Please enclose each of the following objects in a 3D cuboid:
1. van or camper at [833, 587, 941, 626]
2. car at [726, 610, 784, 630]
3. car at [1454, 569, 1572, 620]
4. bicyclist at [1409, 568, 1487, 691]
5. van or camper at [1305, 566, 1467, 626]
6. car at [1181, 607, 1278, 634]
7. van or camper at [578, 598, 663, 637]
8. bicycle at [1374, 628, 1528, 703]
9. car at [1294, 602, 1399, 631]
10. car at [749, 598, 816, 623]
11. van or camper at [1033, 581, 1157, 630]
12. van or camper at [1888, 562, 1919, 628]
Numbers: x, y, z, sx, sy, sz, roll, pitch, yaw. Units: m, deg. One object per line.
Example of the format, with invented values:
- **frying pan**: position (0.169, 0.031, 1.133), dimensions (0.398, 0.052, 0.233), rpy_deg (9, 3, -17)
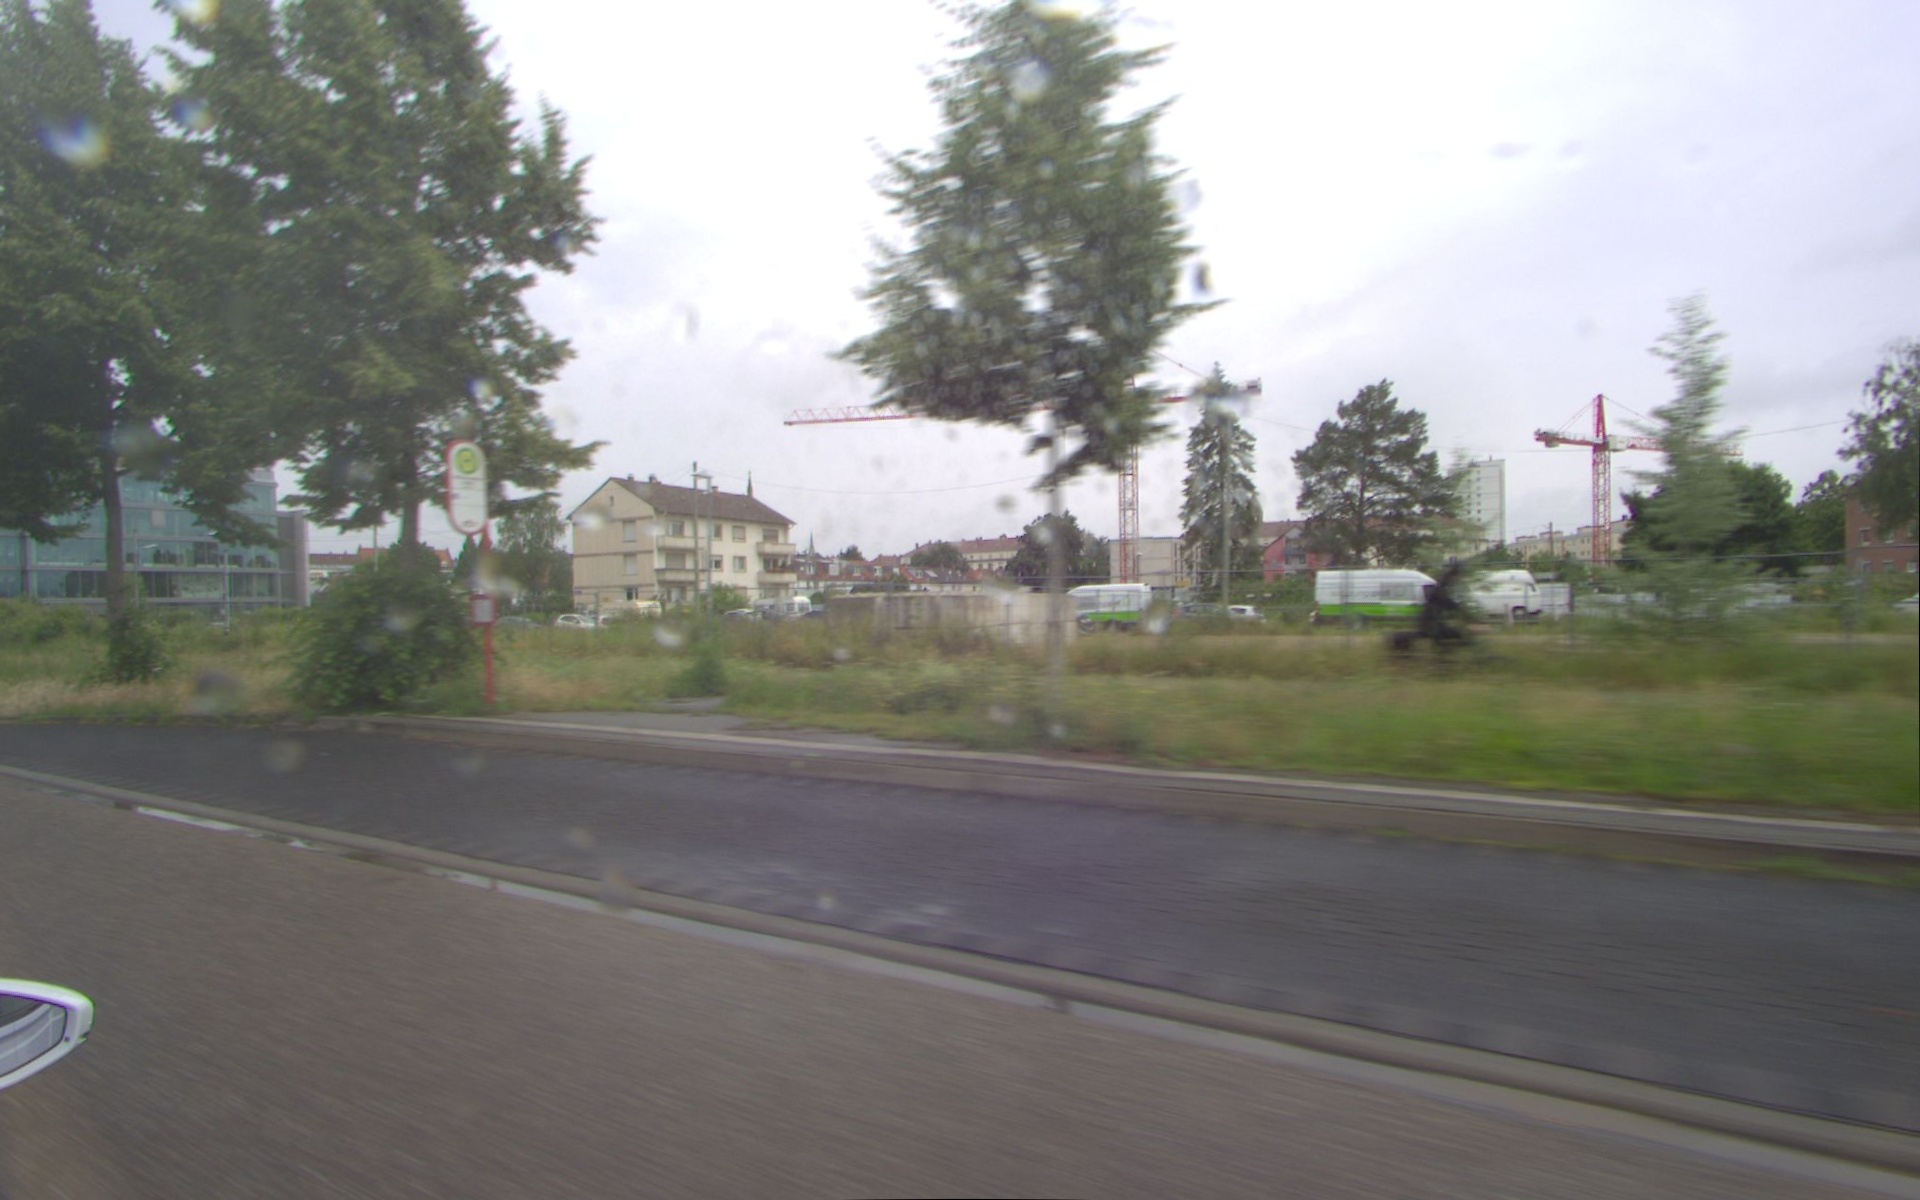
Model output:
- **van or camper**: position (-4.676, 0.473, 63.472), dimensions (6.547, 2.336, 2.501), rpy_deg (-1, -2, 29)
- **car**: position (-14.618, 1.411, 71.275), dimensions (3.975, 1.370, 1.692), rpy_deg (-1, 0, 32)
- **car**: position (25.619, -0.224, 46.621), dimensions (4.685, 2.249, 2.270), rpy_deg (-1, -1, 28)
- **bicyclist**: position (6.295, 0.375, 12.909), dimensions (0.829, 1.525, 0.534), rpy_deg (-1, 0, 34)
- **van or camper**: position (17.709, -0.105, 41.708), dimensions (6.054, 2.337, 2.201), rpy_deg (-1, -1, 29)
- **car**: position (14.155, 1.083, 52.615), dimensions (4.685, 1.370, 1.841), rpy_deg (-1, -1, 28)
- **van or camper**: position (-25.285, 1.307, 74.481), dimensions (6.299, 2.724, 2.305), rpy_deg (-1, 0, 29)
- **bicycle**: position (6.309, 0.823, 12.914), dimensions (1.721, 0.889, 0.545), rpy_deg (-1, 0, 34)
- **car**: position (19.189, 0.830, 49.797), dimensions (4.685, 1.370, 2.089), rpy_deg (-1, -1, 28)
- **car**: position (-14.375, 0.865, 81.145), dimensions (5.125, 1.919, 2.161), rpy_deg (-1, 0, 28)
- **van or camper**: position (7.512, 0.356, 56.000), dimensions (6.321, 2.569, 2.774), rpy_deg (-1, -1, 29)
- **van or camper**: position (39.854, -0.232, 38.939), dimensions (5.175, 2.569, 1.914), rpy_deg (-1, 0, 24)
